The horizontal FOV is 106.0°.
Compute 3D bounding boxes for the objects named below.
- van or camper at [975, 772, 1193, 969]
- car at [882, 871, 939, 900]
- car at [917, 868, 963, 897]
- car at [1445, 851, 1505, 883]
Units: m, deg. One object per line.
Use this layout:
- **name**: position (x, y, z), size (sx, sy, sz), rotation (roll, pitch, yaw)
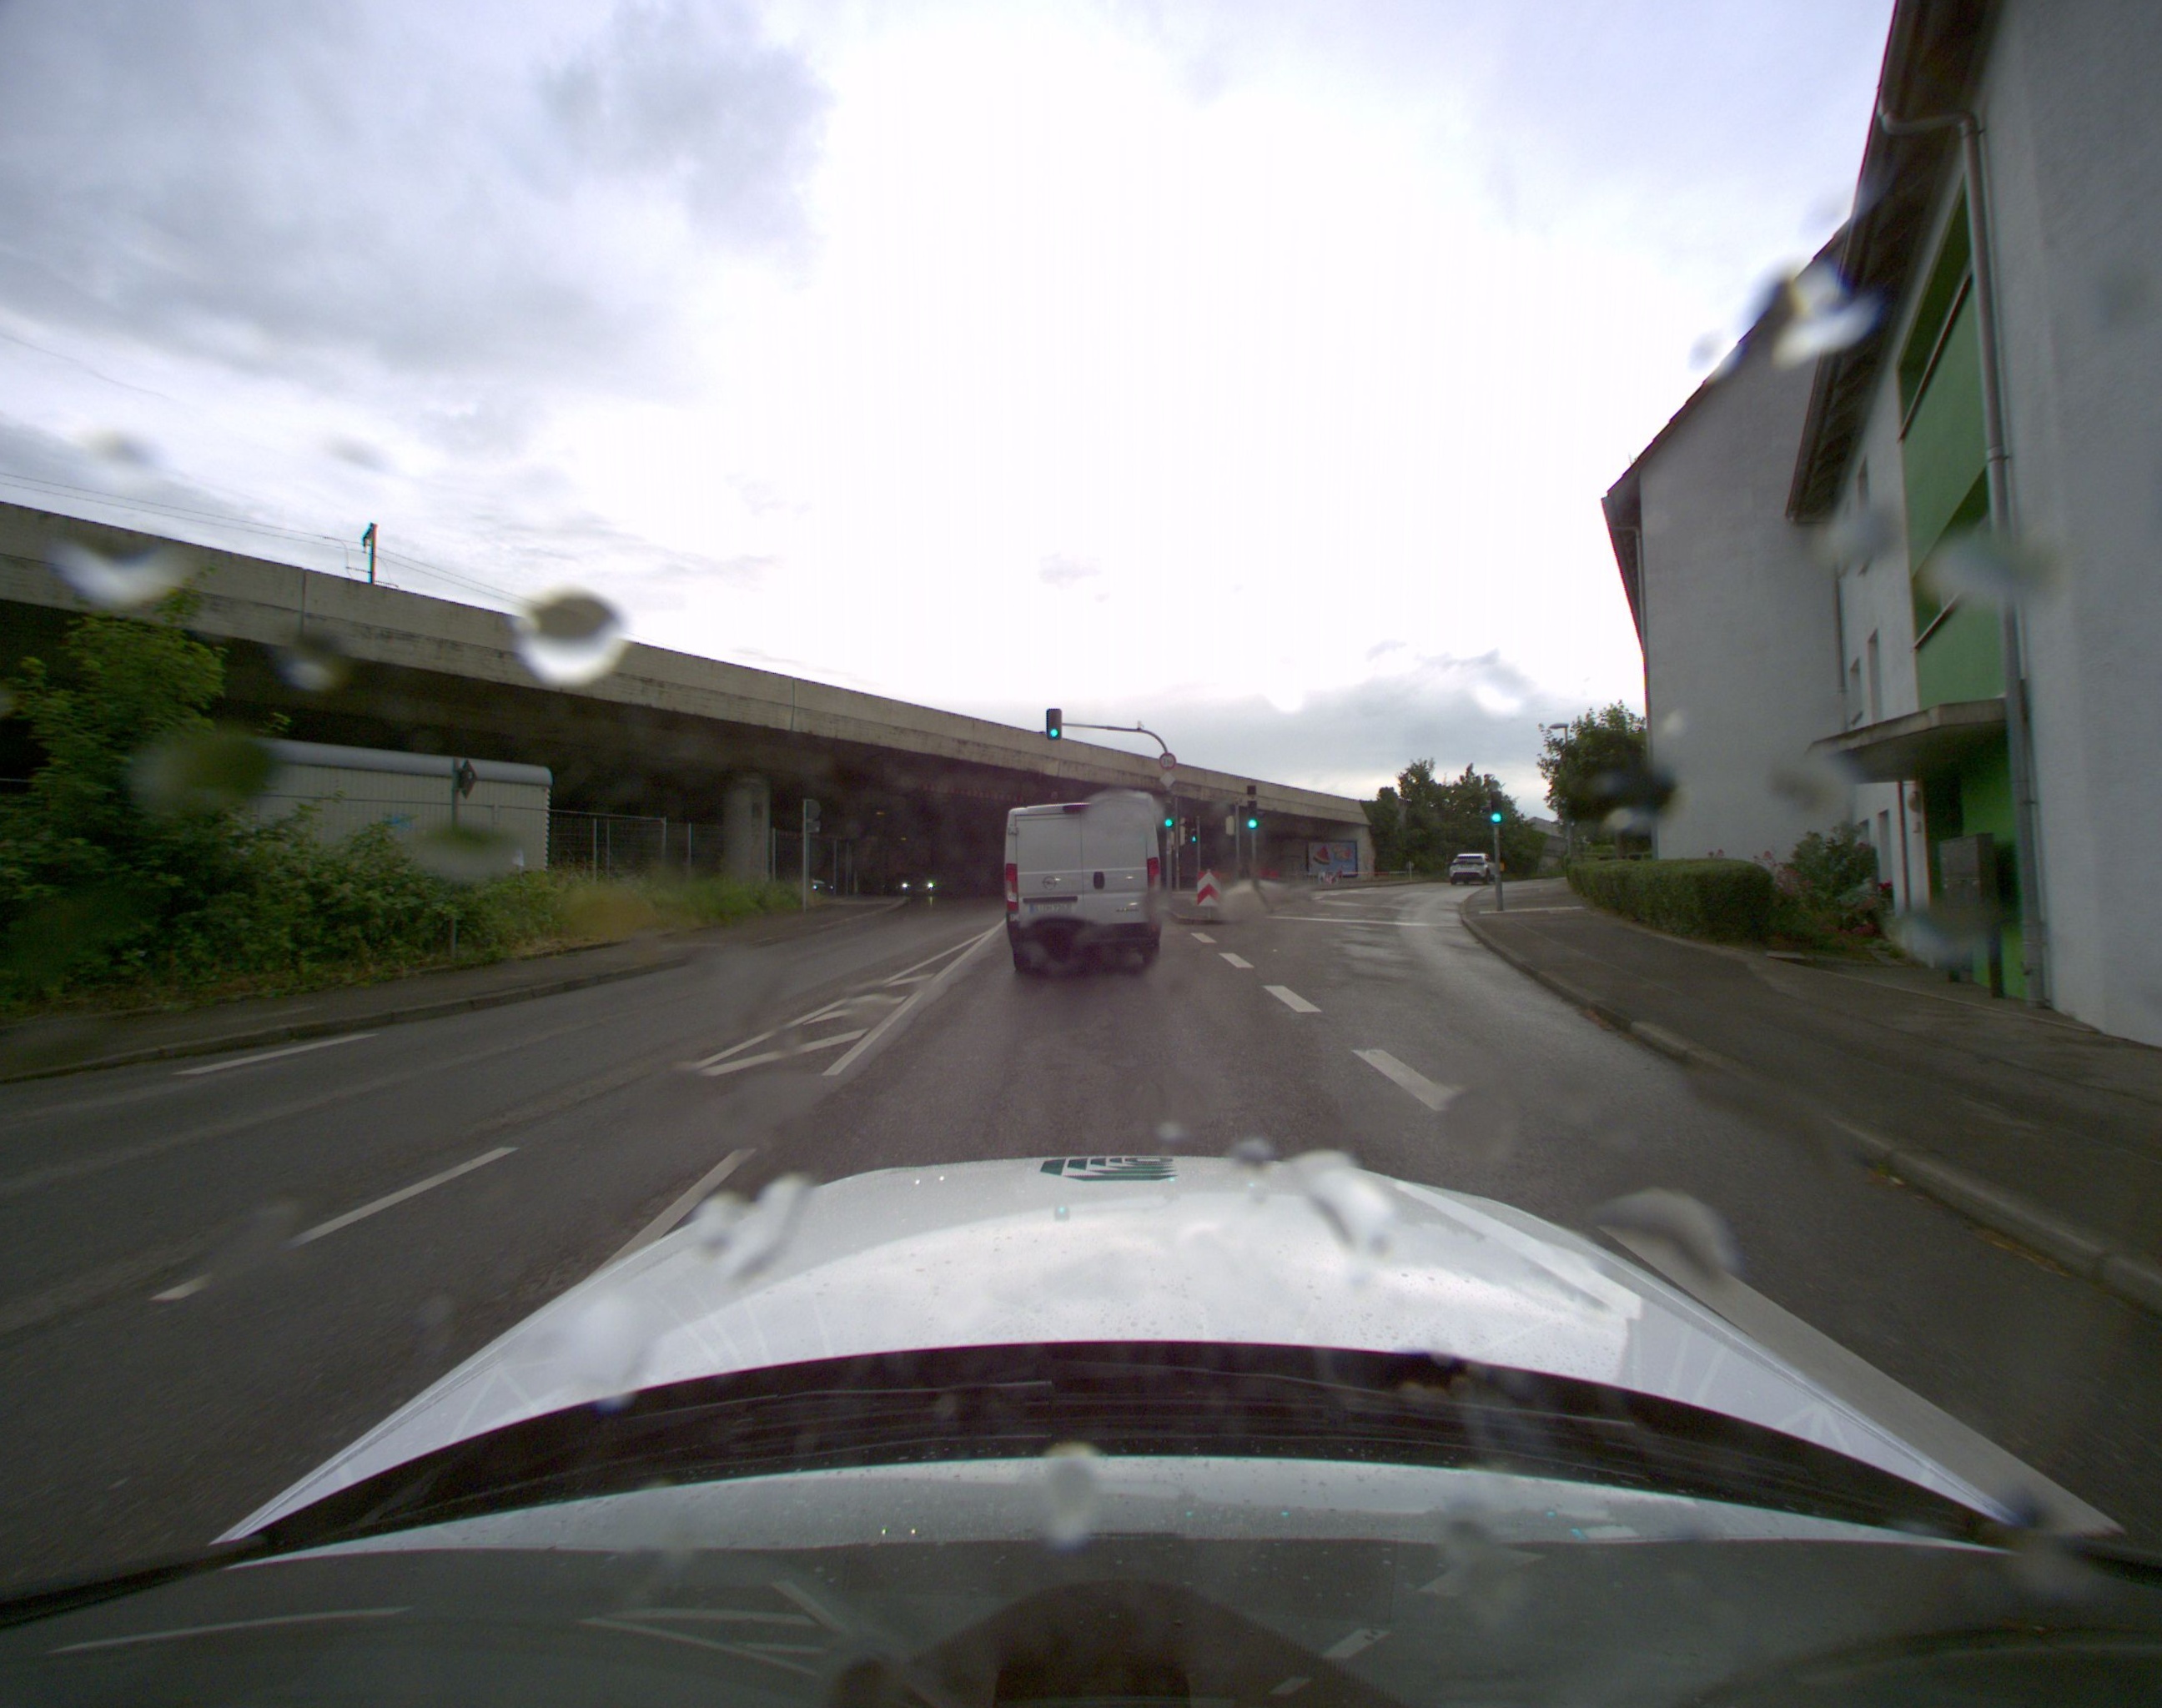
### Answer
- **van or camper**: position (0.065, 0.229, 12.528), size (2.689, 2.417, 4.903), rotation (0, -1, 0)
- **car**: position (-10.012, 1.779, 47.486), size (2.006, 1.530, 4.457), rotation (0, 0, -30)
- **car**: position (-9.316, 1.839, 53.498), size (2.003, 1.750, 3.967), rotation (0, -1, -25)
- **car**: position (19.957, 0.639, 41.168), size (1.857, 1.530, 4.025), rotation (-1, -1, 39)
